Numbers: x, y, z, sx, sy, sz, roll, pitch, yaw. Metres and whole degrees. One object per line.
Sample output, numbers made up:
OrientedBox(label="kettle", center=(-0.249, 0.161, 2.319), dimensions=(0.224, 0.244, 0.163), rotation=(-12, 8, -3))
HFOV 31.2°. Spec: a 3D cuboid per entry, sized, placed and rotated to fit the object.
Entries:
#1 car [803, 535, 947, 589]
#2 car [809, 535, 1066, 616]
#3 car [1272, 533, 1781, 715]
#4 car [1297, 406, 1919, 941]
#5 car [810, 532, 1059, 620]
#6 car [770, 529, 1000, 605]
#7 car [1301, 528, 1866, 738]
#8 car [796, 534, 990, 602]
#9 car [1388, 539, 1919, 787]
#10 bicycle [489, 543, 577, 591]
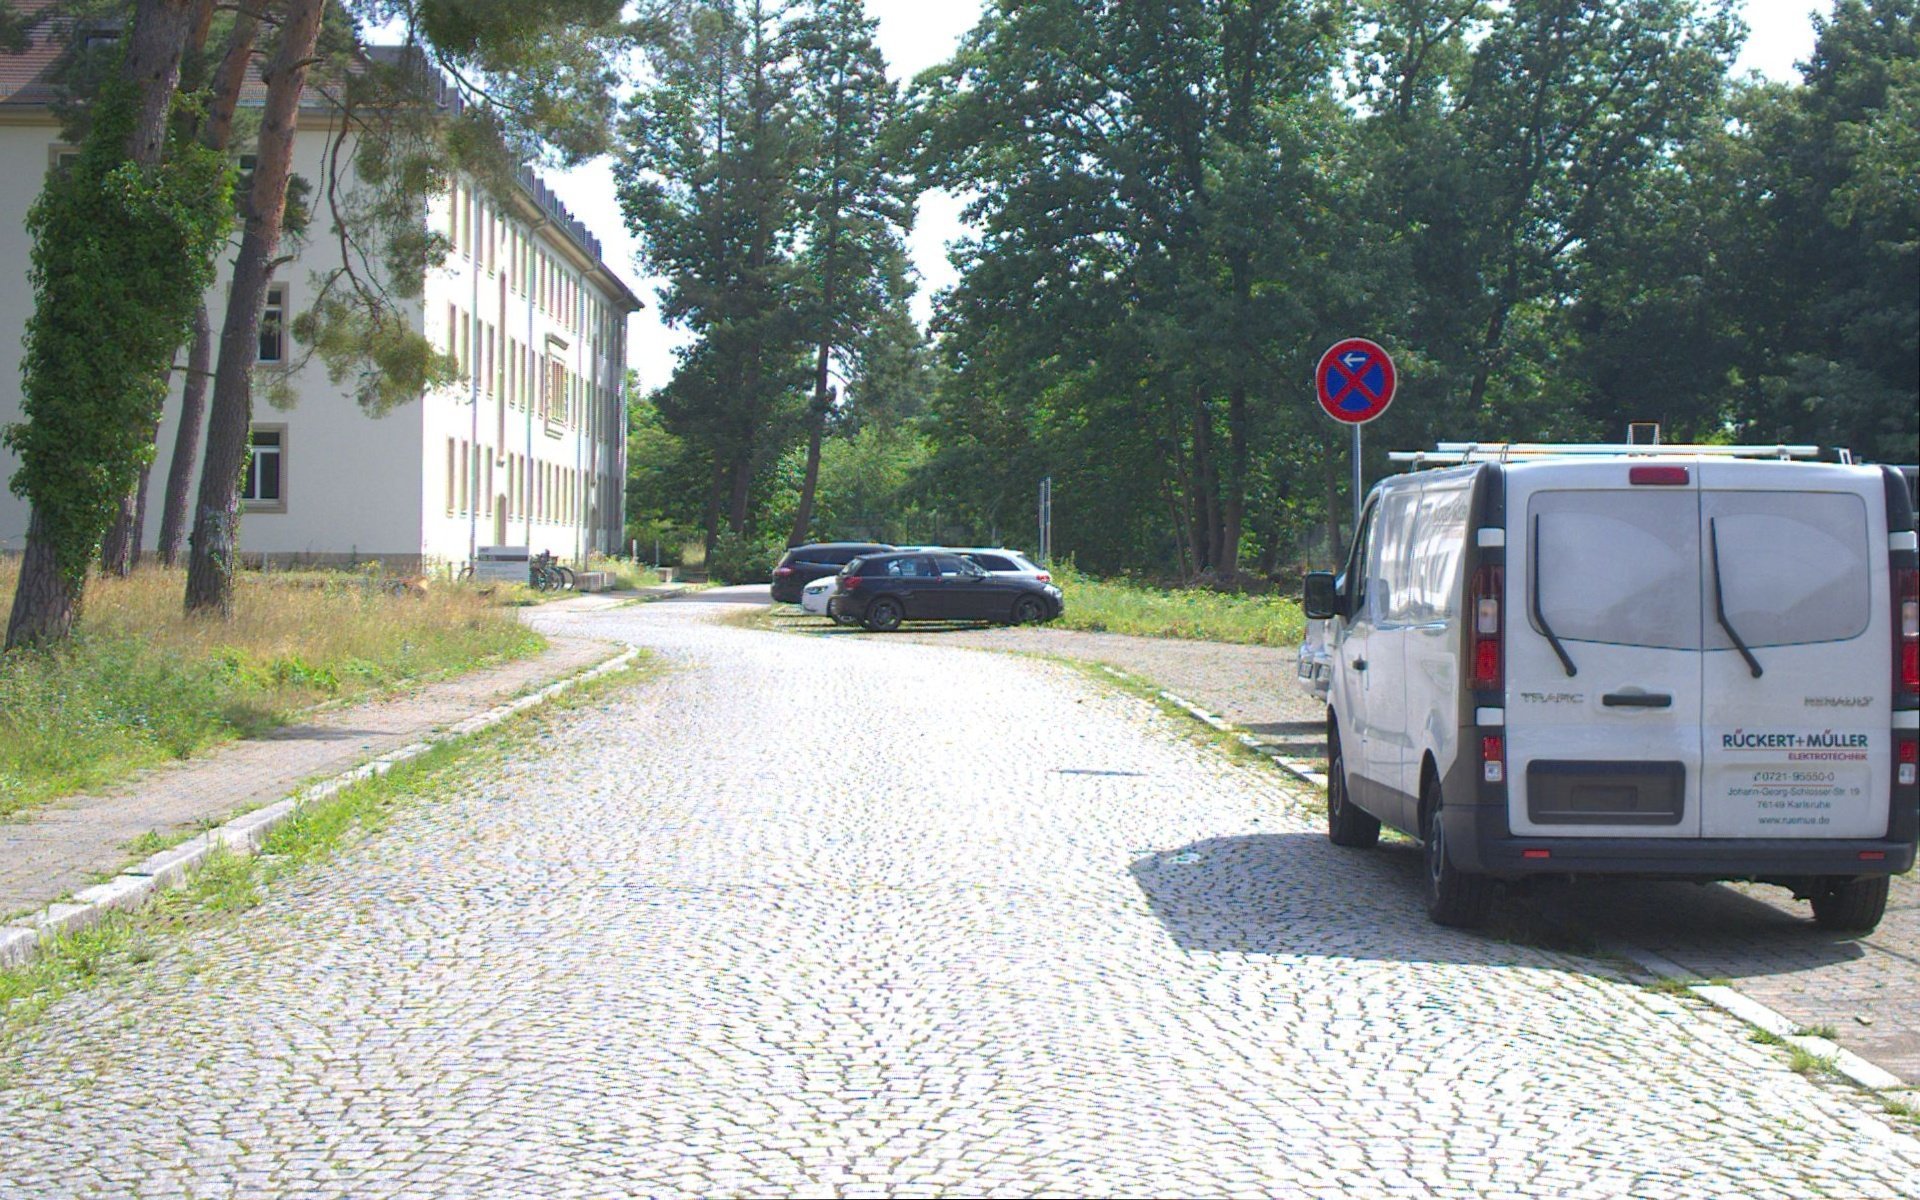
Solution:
OrientedBox(label="car", center=(-2.490, -1.113, 101.874), dimensions=(4.187, 1.538, 1.820), rotation=(-1, 0, 1))
OrientedBox(label="car", center=(-0.465, -0.487, 66.432), dimensions=(4.861, 1.467, 1.875), rotation=(-1, 2, -3))
OrientedBox(label="car", center=(4.849, 0.186, 29.737), dimensions=(4.041, 1.459, 1.704), rotation=(-1, 1, -4))
OrientedBox(label="car", center=(2.830, 0.245, 16.045), dimensions=(1.914, 2.046, 5.679), rotation=(0, 1, 0))
OrientedBox(label="car", center=(-0.490, -0.457, 63.317), dimensions=(4.323, 1.495, 1.830), rotation=(-1, 2, -9))
OrientedBox(label="car", center=(-1.635, -0.702, 73.756), dimensions=(4.852, 1.547, 1.880), rotation=(-1, 0, -3))
OrientedBox(label="car", center=(4.780, 0.233, 26.675), dimensions=(3.986, 1.501, 1.747), rotation=(-1, 1, -4))
OrientedBox(label="car", center=(-1.570, -0.738, 79.073), dimensions=(4.398, 1.479, 1.766), rotation=(-1, 0, -3))
OrientedBox(label="car", center=(5.145, 0.359, 22.111), dimensions=(4.453, 1.470, 1.746), rotation=(-1, 1, -5))
OrientedBox(label="bicycle", center=(-11.250, -0.882, 90.634), dimensions=(2.222, 1.256, 0.623), rotation=(0, 1, 1))
